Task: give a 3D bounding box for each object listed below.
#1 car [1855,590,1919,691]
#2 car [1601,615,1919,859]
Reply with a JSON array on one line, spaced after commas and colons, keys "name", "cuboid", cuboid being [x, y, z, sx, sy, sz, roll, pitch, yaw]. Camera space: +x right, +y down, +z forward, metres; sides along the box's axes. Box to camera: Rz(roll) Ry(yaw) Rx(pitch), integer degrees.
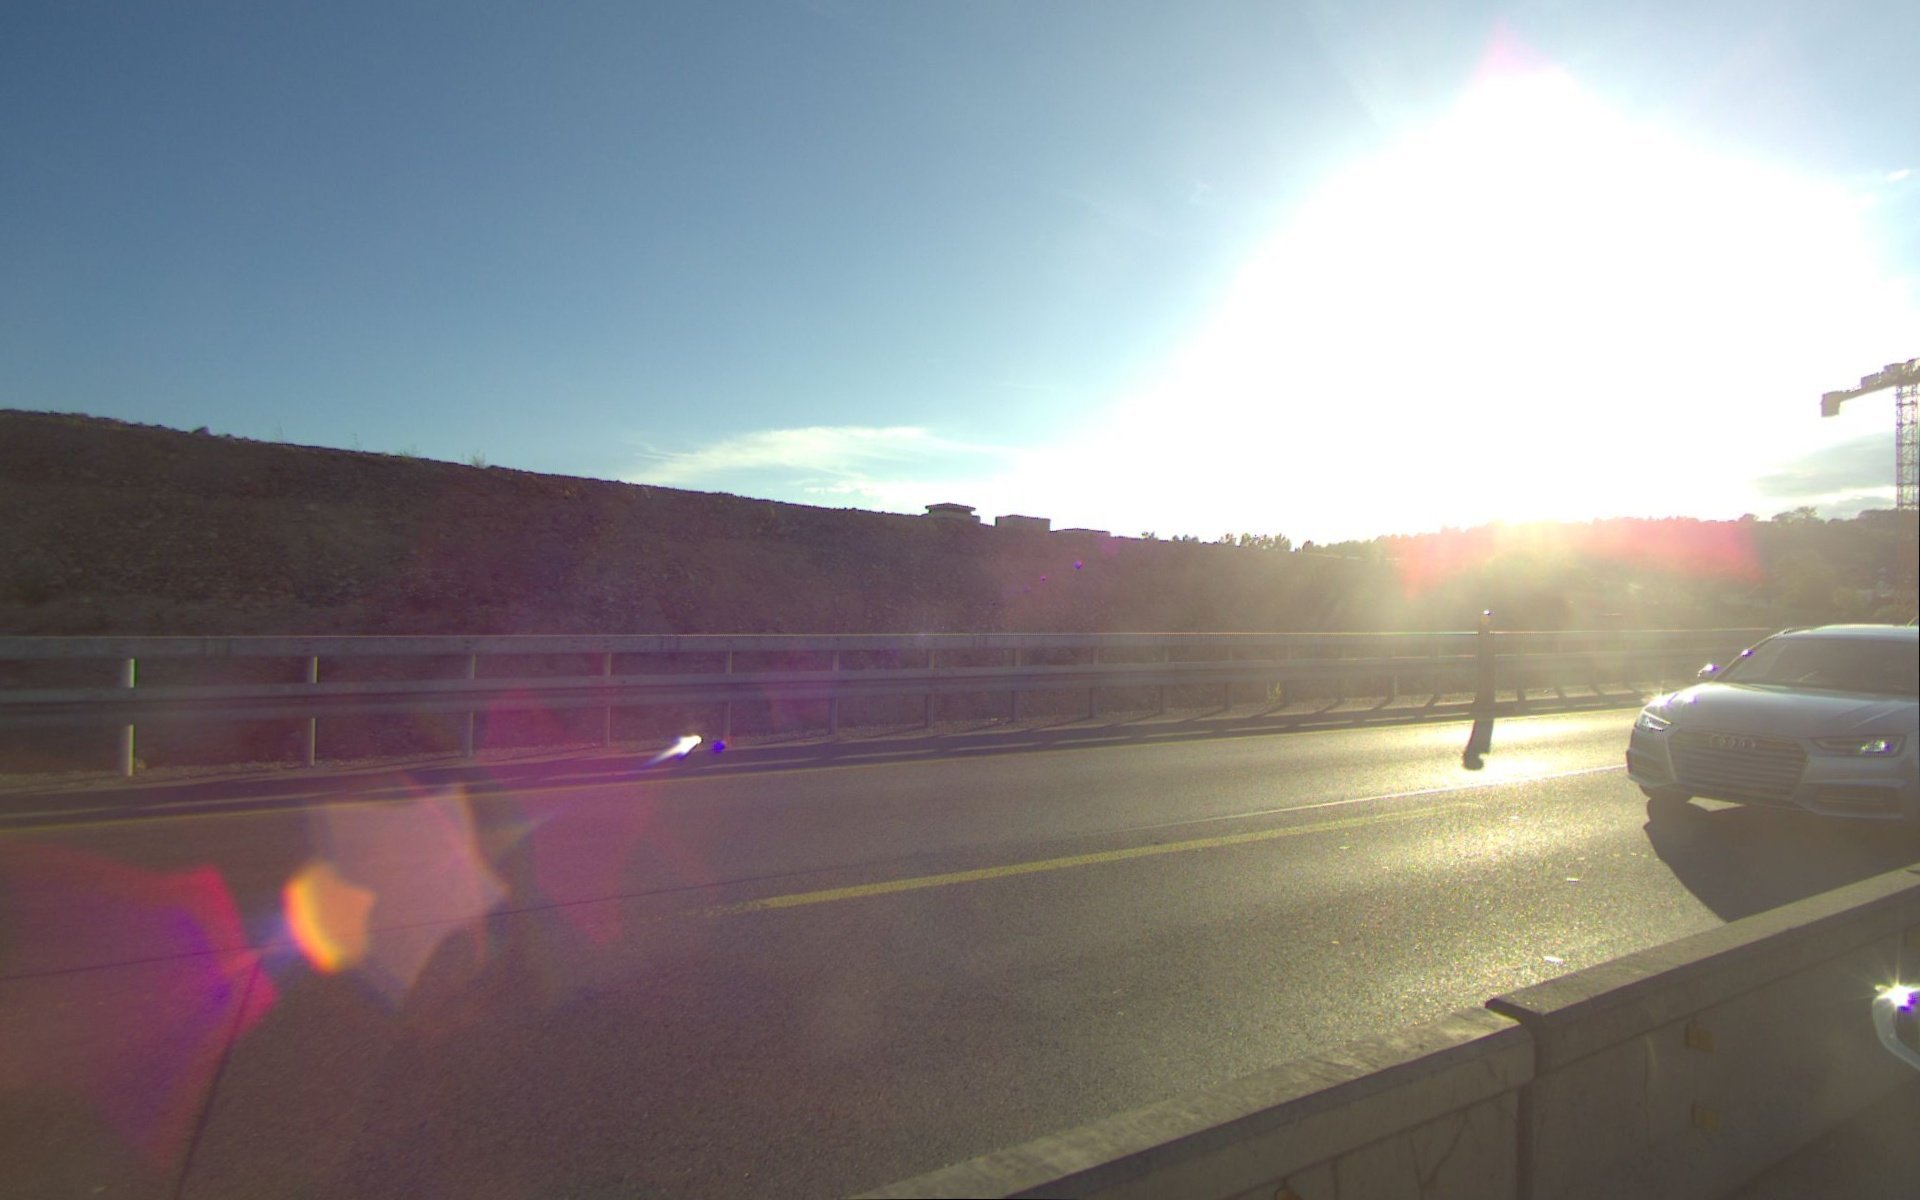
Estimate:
[{"name": "car", "cuboid": [18.934, 0.768, 18.797, 4.388, 1.788, 1.984, 2, 0, -30]}, {"name": "car", "cuboid": [7.233, 0.914, 8.062, 4.107, 1.451, 1.852, 2, 0, -31]}]
